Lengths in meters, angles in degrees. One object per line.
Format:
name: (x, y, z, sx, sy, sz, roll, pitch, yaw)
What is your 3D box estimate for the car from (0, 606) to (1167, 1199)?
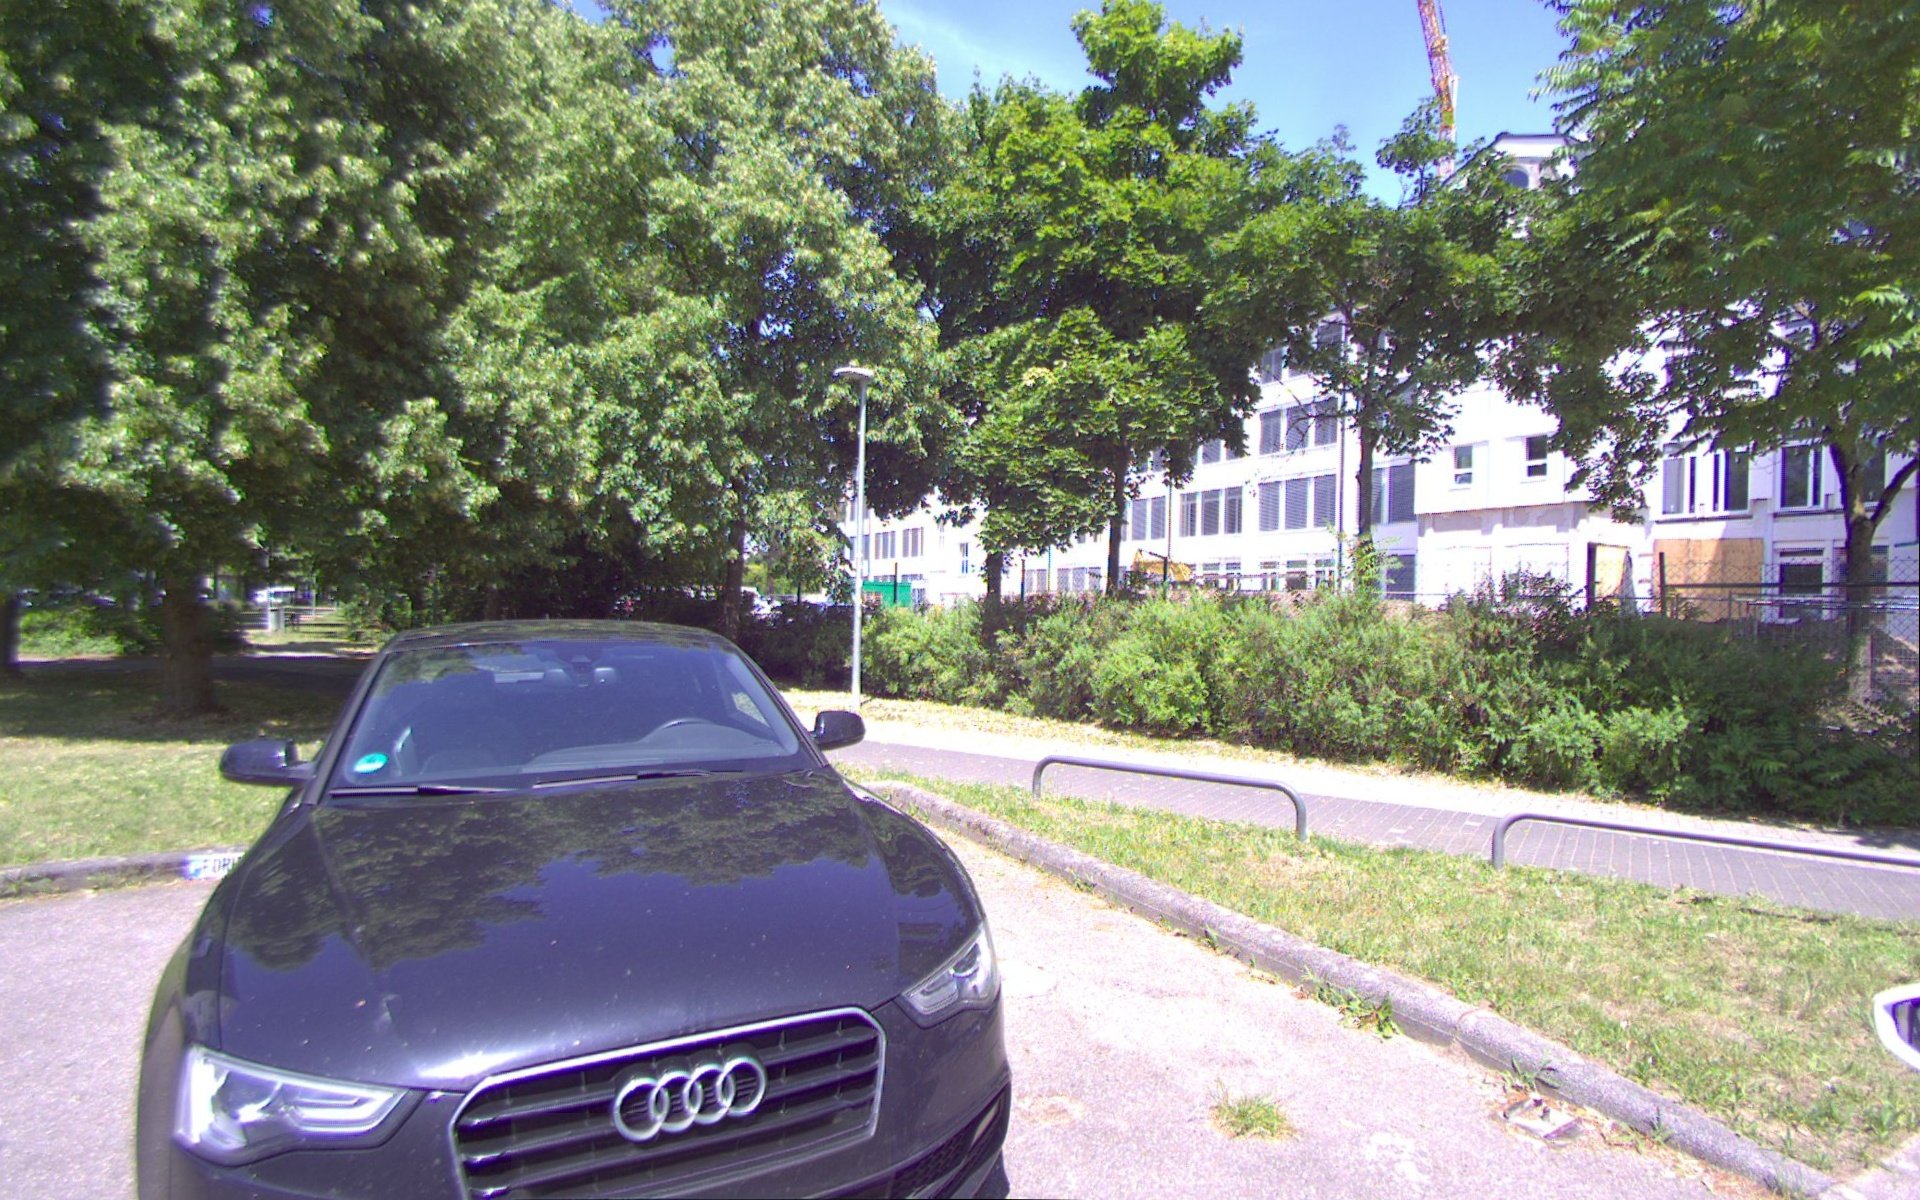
car: (-1.430, 0.743, 3.643, 1.997, 1.398, 4.413, 0, 0, -27)

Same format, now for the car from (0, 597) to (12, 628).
car: (-50.931, 0.575, 50.853, 3.956, 1.550, 1.731, 2, -1, -32)

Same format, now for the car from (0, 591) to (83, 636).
car: (-36.495, 0.483, 38.303, 4.293, 1.631, 1.917, 2, -1, -32)

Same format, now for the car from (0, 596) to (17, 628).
car: (-52.658, 0.568, 53.066, 3.851, 1.652, 1.521, 2, -1, -32)

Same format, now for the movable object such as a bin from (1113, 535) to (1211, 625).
movable object such as a bin: (10.623, -1.001, 53.355, 1.973, 4.430, 5.687, 2, -1, -25)
